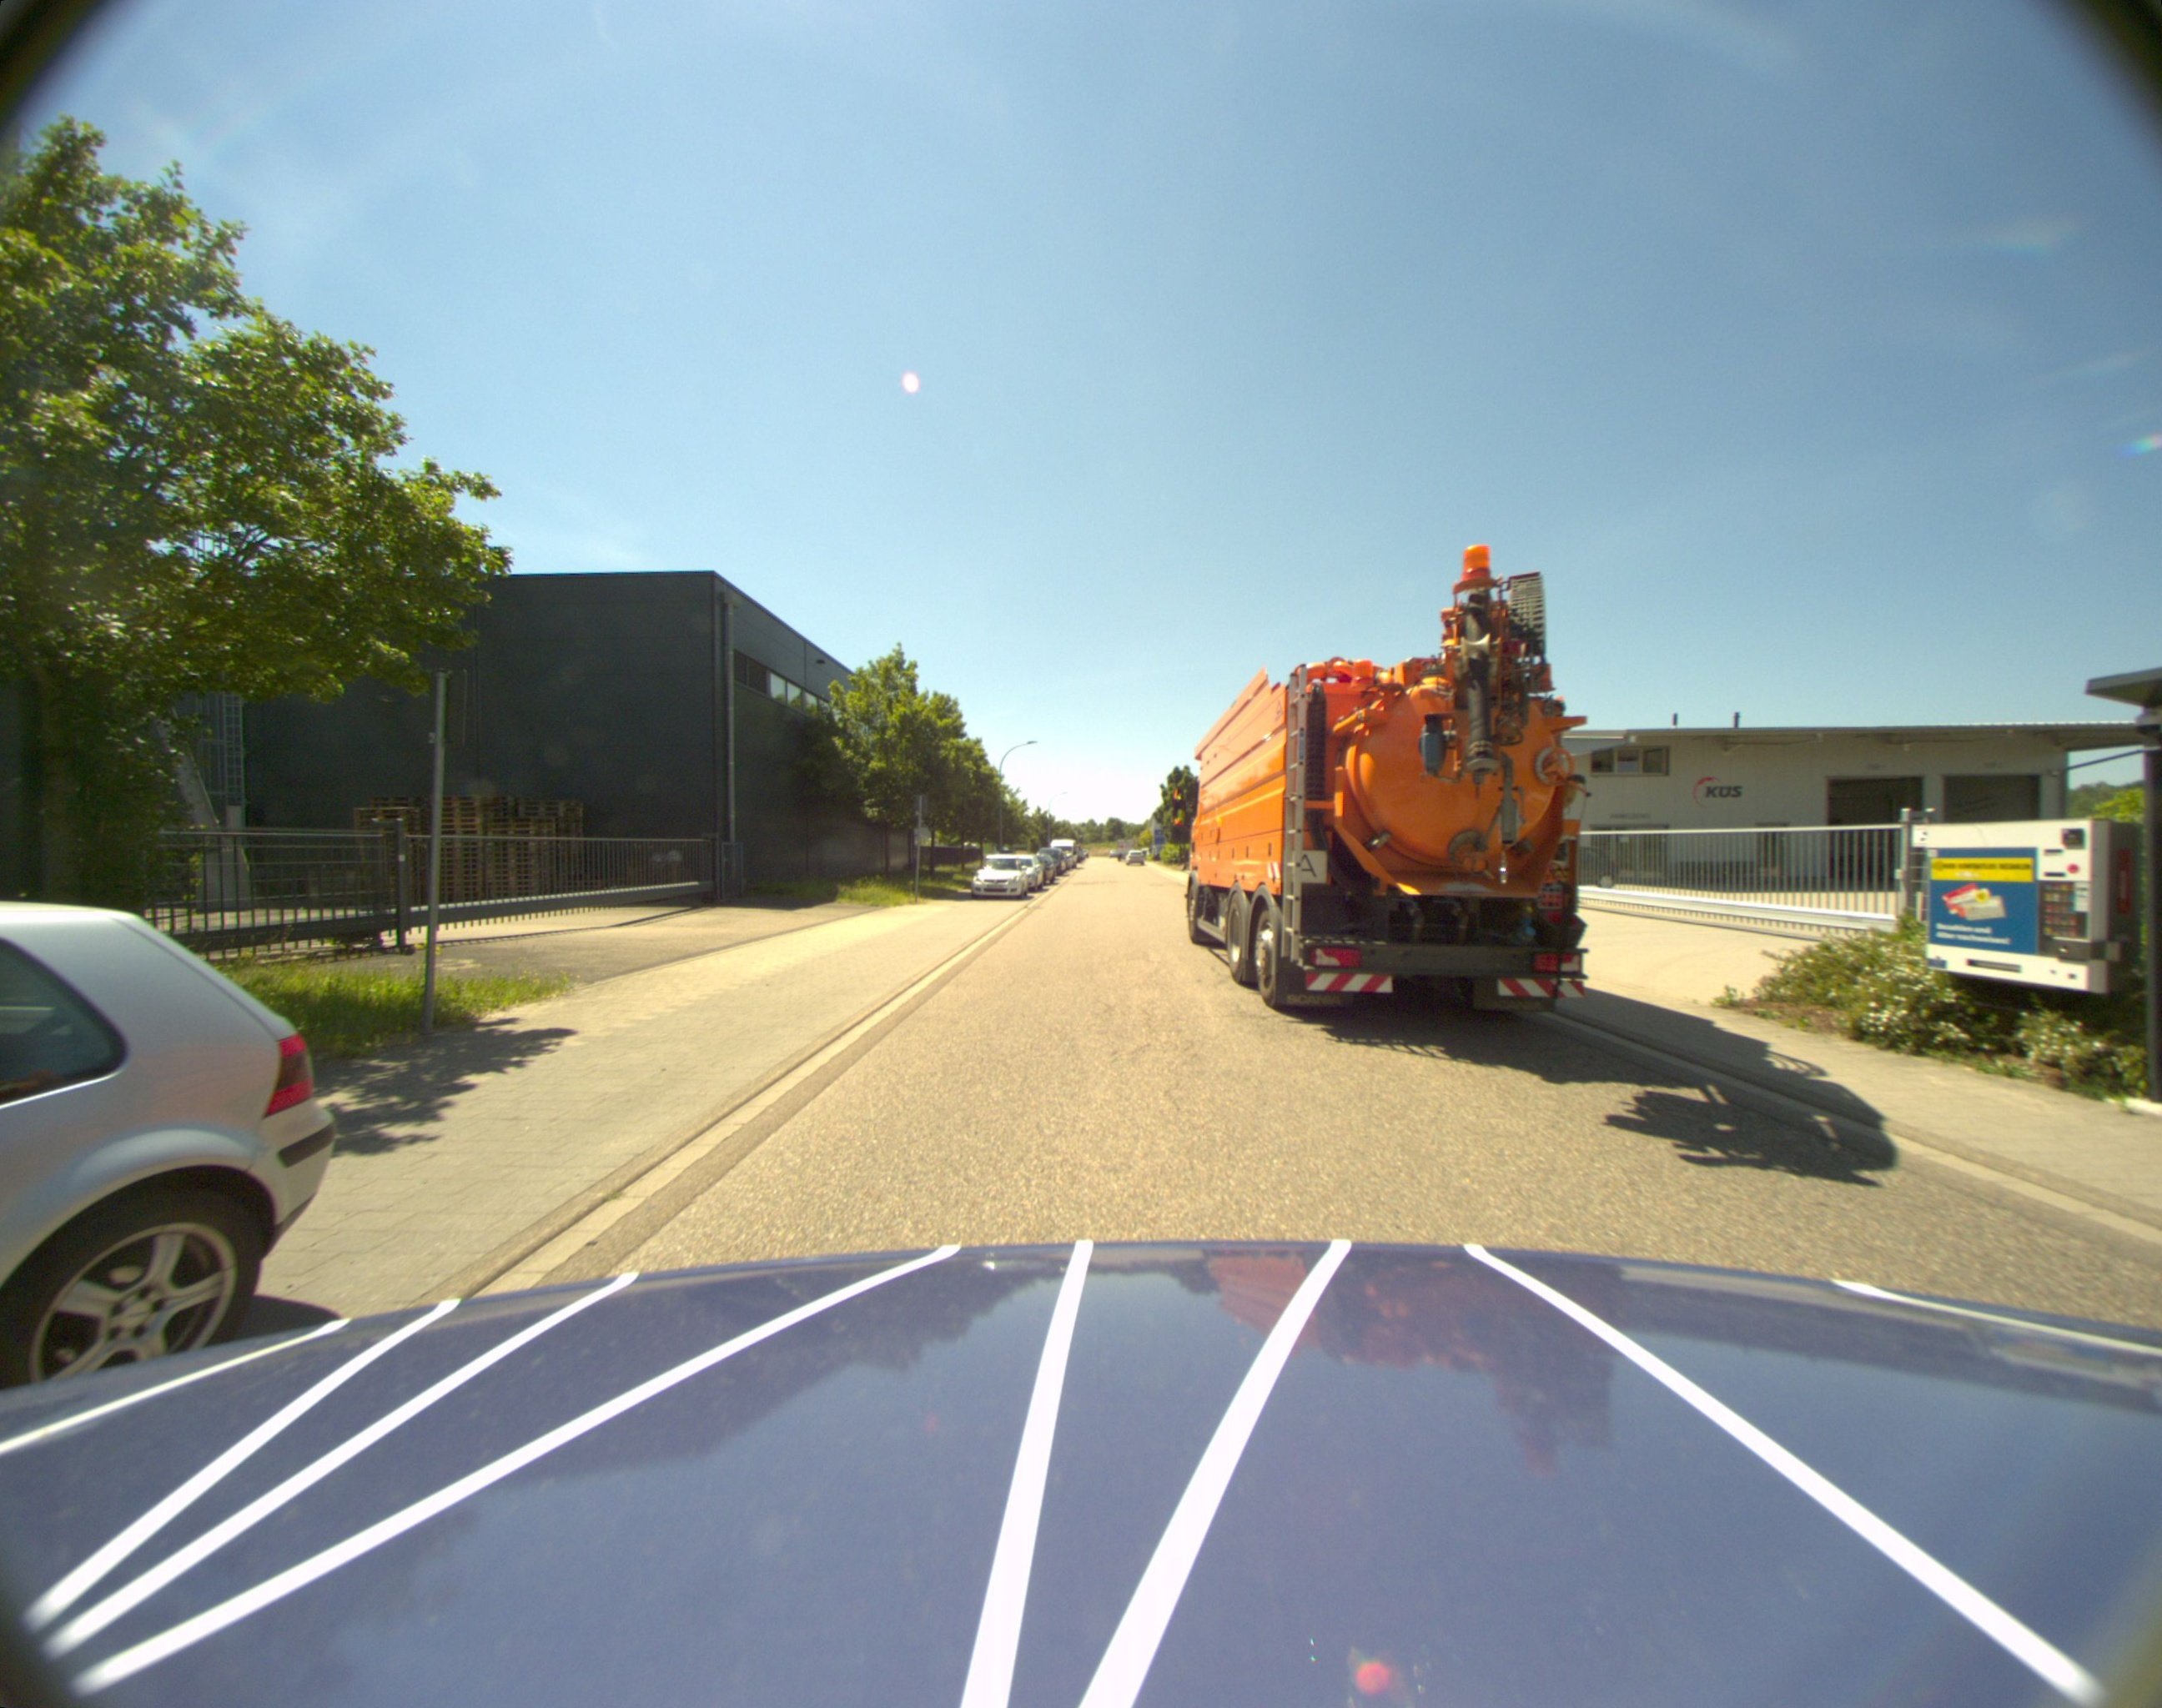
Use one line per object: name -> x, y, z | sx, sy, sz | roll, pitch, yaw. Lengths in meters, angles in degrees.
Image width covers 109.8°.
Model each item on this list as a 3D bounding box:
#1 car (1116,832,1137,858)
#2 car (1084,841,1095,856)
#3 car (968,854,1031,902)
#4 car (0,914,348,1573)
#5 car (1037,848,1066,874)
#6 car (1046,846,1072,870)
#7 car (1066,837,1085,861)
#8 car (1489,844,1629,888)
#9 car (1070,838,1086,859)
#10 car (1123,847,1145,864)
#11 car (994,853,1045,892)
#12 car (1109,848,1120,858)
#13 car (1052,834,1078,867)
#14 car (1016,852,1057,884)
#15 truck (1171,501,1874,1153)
car -> 5.858, -1.161, 98.335 | 2.600, 3.213, 6.222 | 0, 1, 2
car -> 1.601, -1.065, 143.250 | 2.059, 2.683, 4.834 | 0, 1, 1
car -> -2.739, 0.762, 26.375 | 1.736, 1.501, 3.665 | 1, 1, 1
car -> -3.382, 0.949, 0.498 | 1.711, 1.449, 4.189 | 1, 1, 1
car -> -1.912, 0.432, 49.832 | 1.736, 1.684, 3.745 | 0, 1, 1
car -> -1.597, 0.293, 55.581 | 1.736, 1.684, 3.745 | 0, 1, 1
car -> -0.558, -0.579, 85.707 | 2.059, 2.683, 4.834 | 0, 1, 1
car -> 16.020, 0.391, 25.563 | 3.747, 1.434, 1.582 | 0, 1, -1
car -> -0.376, -0.729, 98.205 | 2.059, 2.683, 4.834 | 0, 1, 1
car -> 5.307, 0.161, 76.518 | 1.998, 1.674, 4.000 | 0, 1, 2
car -> -2.470, 0.721, 31.359 | 1.736, 1.501, 3.845 | 0, 1, 1
car -> 5.774, -0.200, 132.068 | 1.867, 1.674, 4.223 | 0, 1, 2
car -> -1.347, -0.311, 66.058 | 2.059, 2.683, 4.834 | 0, 1, 1
car -> -2.162, 0.641, 37.753 | 1.736, 1.501, 3.745 | 0, 1, 1
truck -> 3.011, -0.176, 9.383 | 2.606, 3.524, 10.500 | 0, 1, 1
